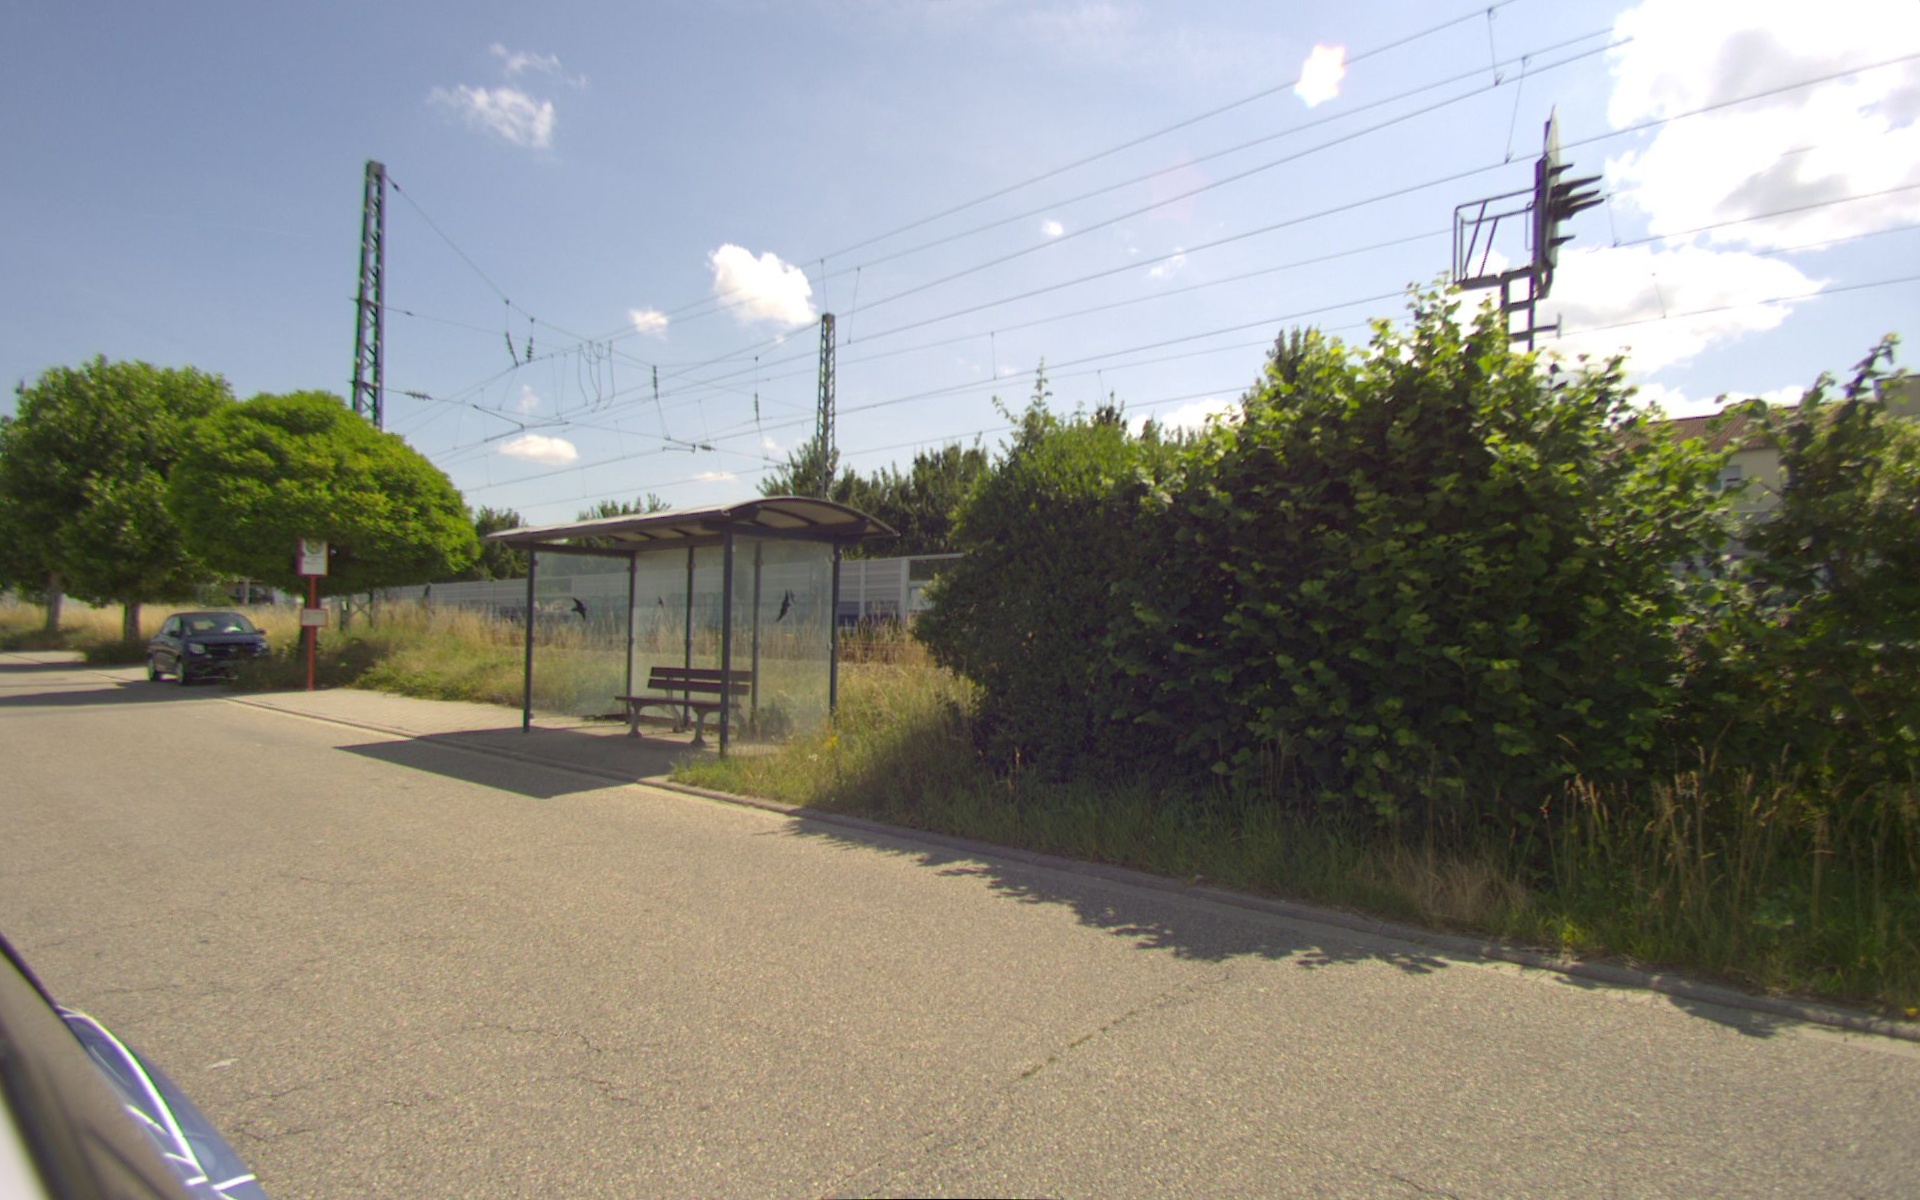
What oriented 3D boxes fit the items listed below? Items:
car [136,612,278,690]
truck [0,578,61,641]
[{"bbox_3d":[-16.848,1.086,22.589,3.576,1.608,1.724,-1,-2,39],"label":"car"},{"bbox_3d":[-60.277,0.571,62.595,2.659,3.852,6.553,-1,-2,36],"label":"truck"}]
